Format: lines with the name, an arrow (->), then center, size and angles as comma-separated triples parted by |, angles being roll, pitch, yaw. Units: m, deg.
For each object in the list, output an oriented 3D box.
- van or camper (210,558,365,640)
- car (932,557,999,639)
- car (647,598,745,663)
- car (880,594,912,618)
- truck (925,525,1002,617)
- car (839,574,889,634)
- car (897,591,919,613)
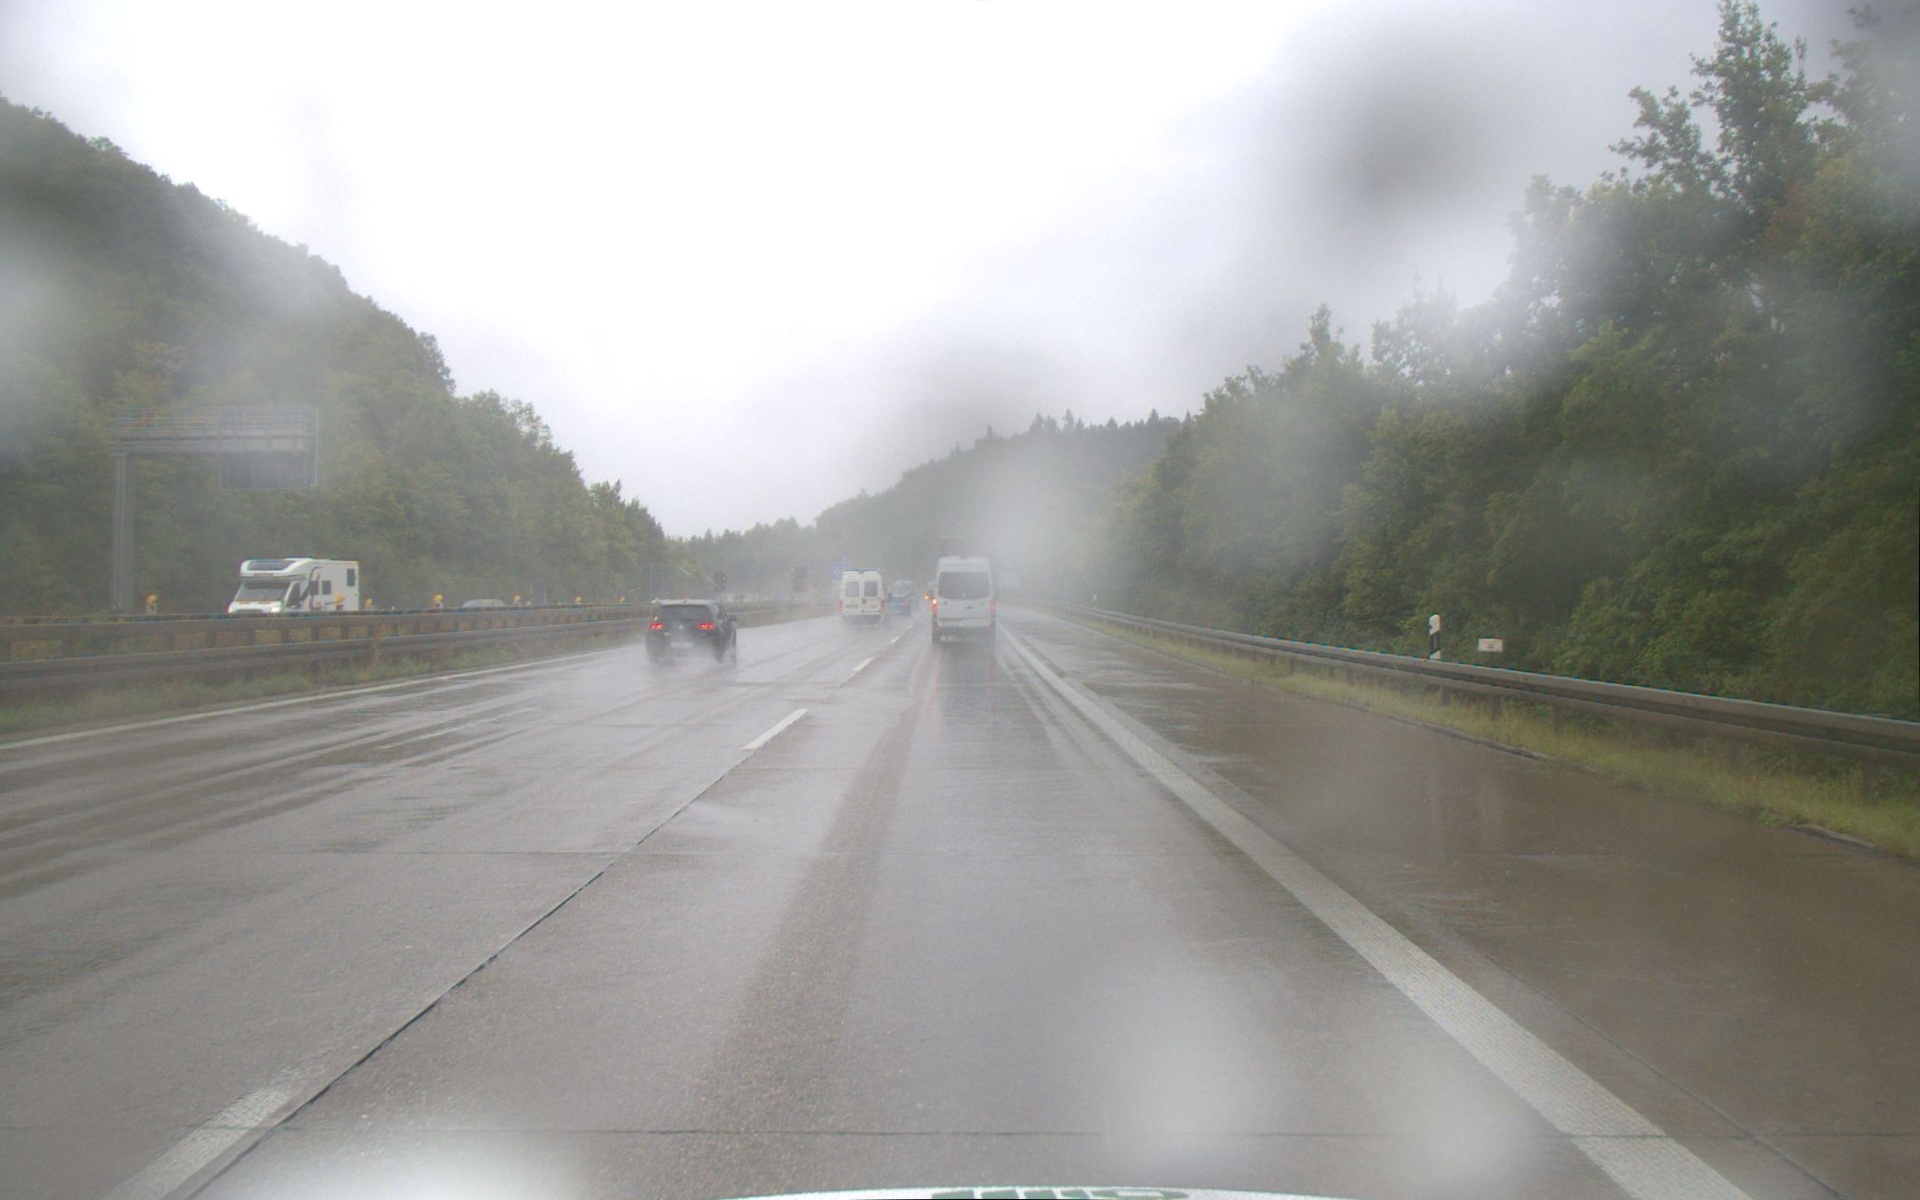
van or camper -> -24.061, -0.058, 59.610 | 2.504, 2.765, 7.498 | 0, 0, 0
car -> 0.111, -0.076, 51.753 | 1.861, 2.374, 5.249 | 2, 0, -2
car -> -6.066, 0.678, 38.398 | 1.705, 1.412, 4.320 | -1, 0, -2
car -> -3.957, 0.373, 101.167 | 1.819, 1.362, 4.348 | 2, 0, -4
truck -> 0.103, -1.451, 78.543 | 3.316, 4.037, 8.666 | -2, 2, -1
car -> -4.155, 0.162, 72.593 | 1.957, 2.474, 5.789 | 2, 0, -2
car -> -4.431, 0.167, 140.506 | 1.831, 1.841, 4.187 | 2, 0, -2
